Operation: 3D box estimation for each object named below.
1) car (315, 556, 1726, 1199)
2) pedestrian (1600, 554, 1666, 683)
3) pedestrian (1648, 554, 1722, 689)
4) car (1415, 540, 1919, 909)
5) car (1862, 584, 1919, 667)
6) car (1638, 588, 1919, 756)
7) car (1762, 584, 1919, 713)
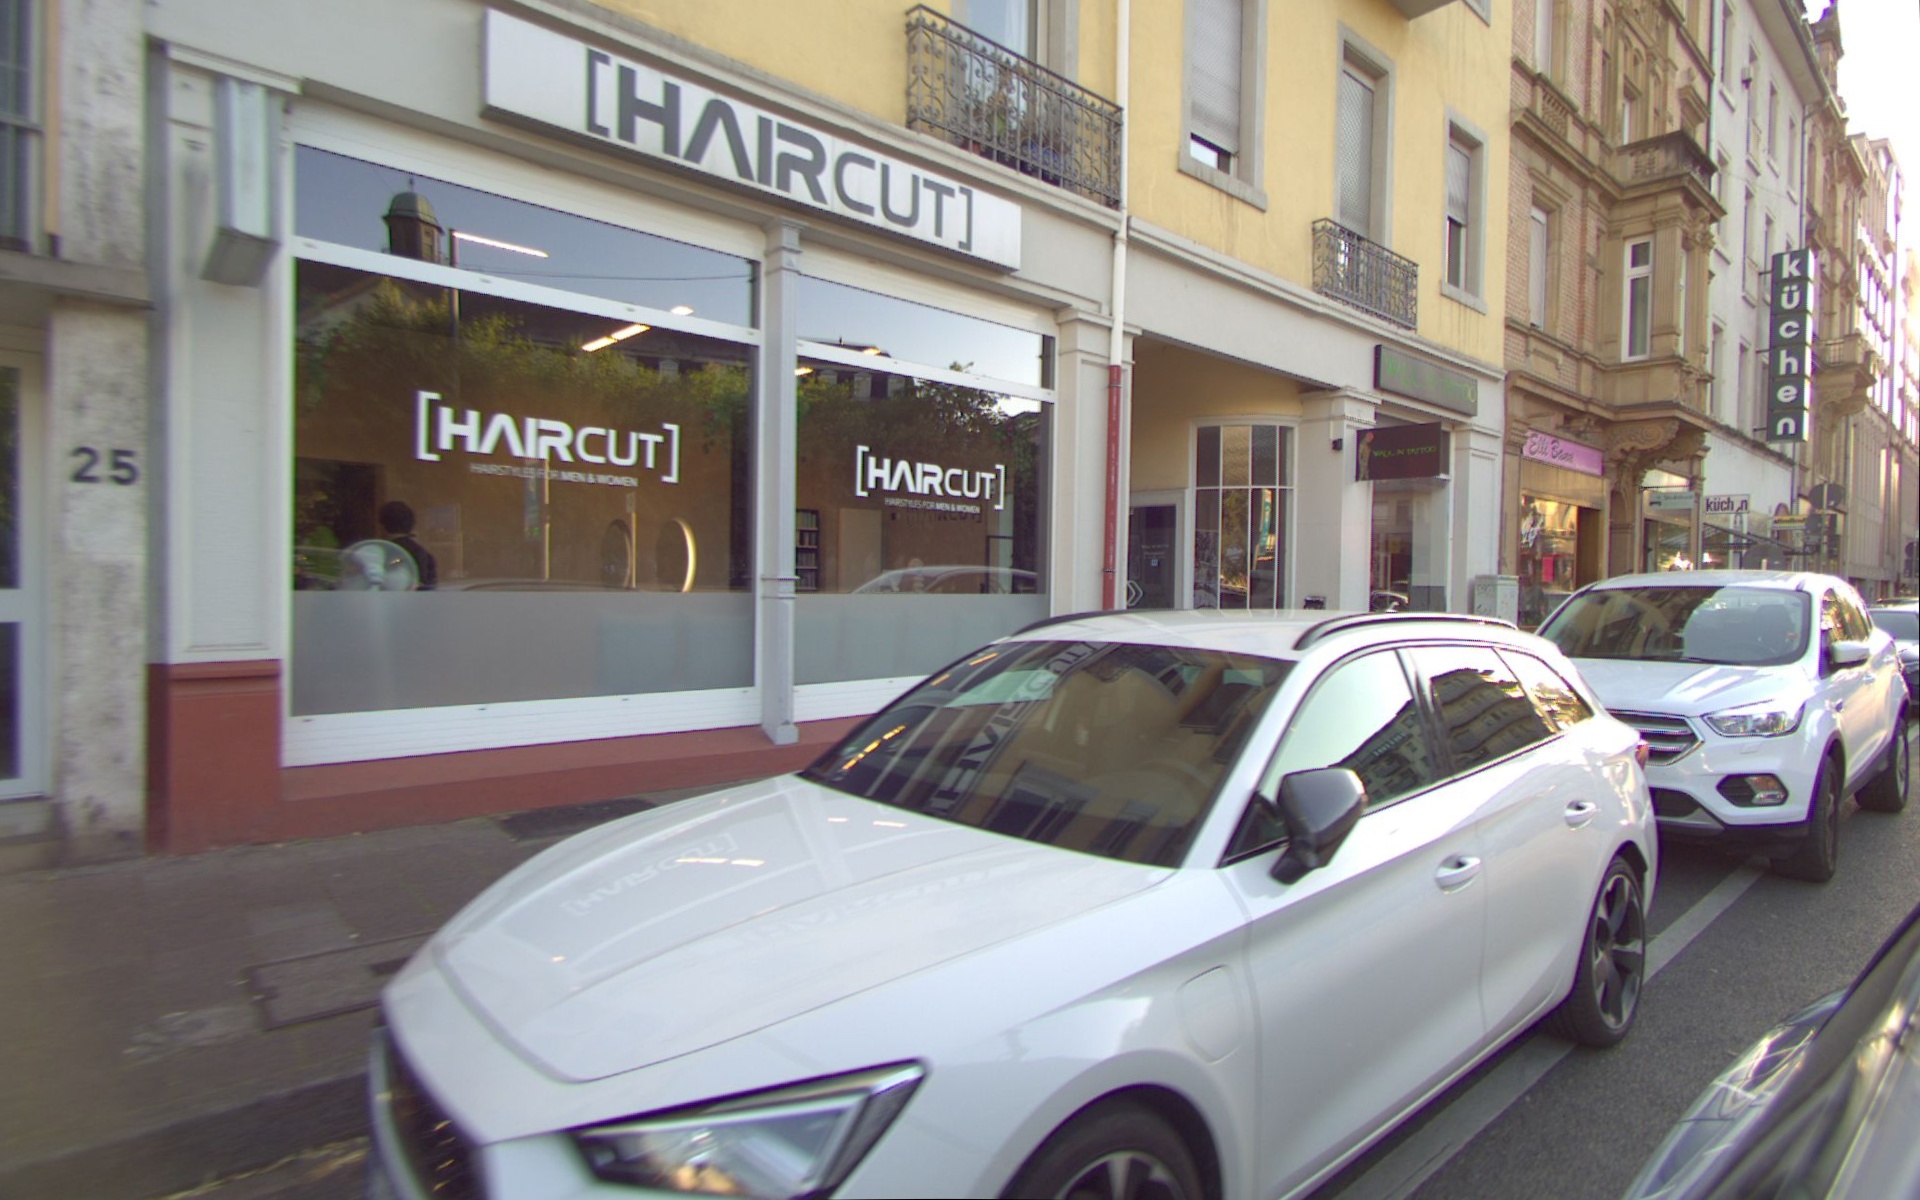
[{"bbox_3d":[0.763,0.673,3.190,4.529,1.475,1.737,0,1,-41],"label":"car"},{"bbox_3d":[10.967,0.283,16.490,0.836,2.039,0.673,0,0,-41],"label":"pedestrian"},{"bbox_3d":[11.331,0.312,15.815,0.836,2.039,0.763,0,0,-41],"label":"pedestrian"},{"bbox_3d":[4.983,0.550,6.788,4.352,1.695,1.876,0,1,-41],"label":"car"},{"bbox_3d":[19.913,0.486,20.829,4.131,1.603,1.642,0,1,-43],"label":"car"},{"bbox_3d":[9.095,0.614,11.009,4.374,1.447,1.906,0,1,-43],"label":"car"},{"bbox_3d":[12.949,0.579,14.285,4.374,1.559,1.906,0,1,-43],"label":"car"}]
